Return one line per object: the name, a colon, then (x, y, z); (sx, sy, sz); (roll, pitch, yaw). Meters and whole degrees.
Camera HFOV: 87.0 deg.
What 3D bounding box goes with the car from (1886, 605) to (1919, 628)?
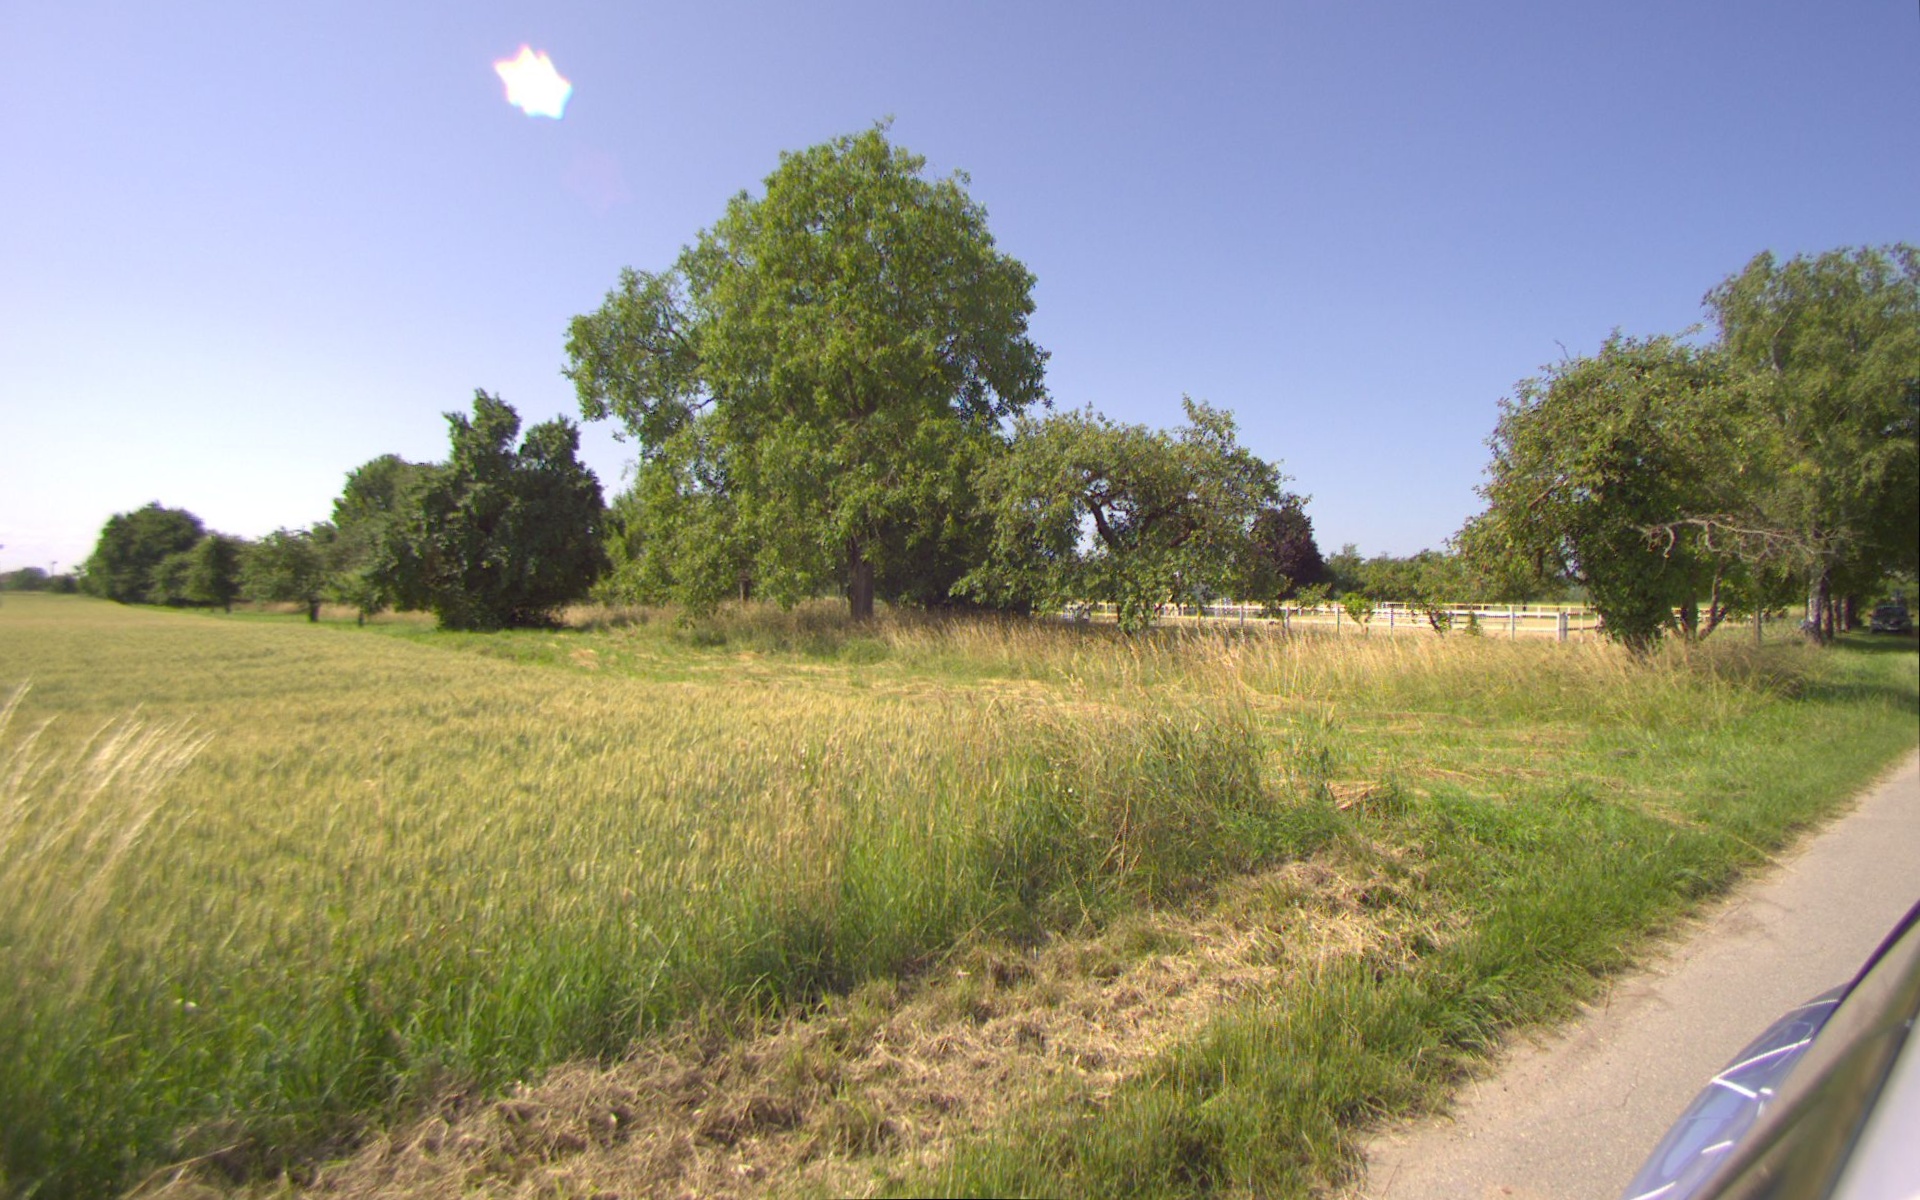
car: (56.566, 0.986, 60.494); (1.716, 1.337, 3.685); (0, 0, 42)
